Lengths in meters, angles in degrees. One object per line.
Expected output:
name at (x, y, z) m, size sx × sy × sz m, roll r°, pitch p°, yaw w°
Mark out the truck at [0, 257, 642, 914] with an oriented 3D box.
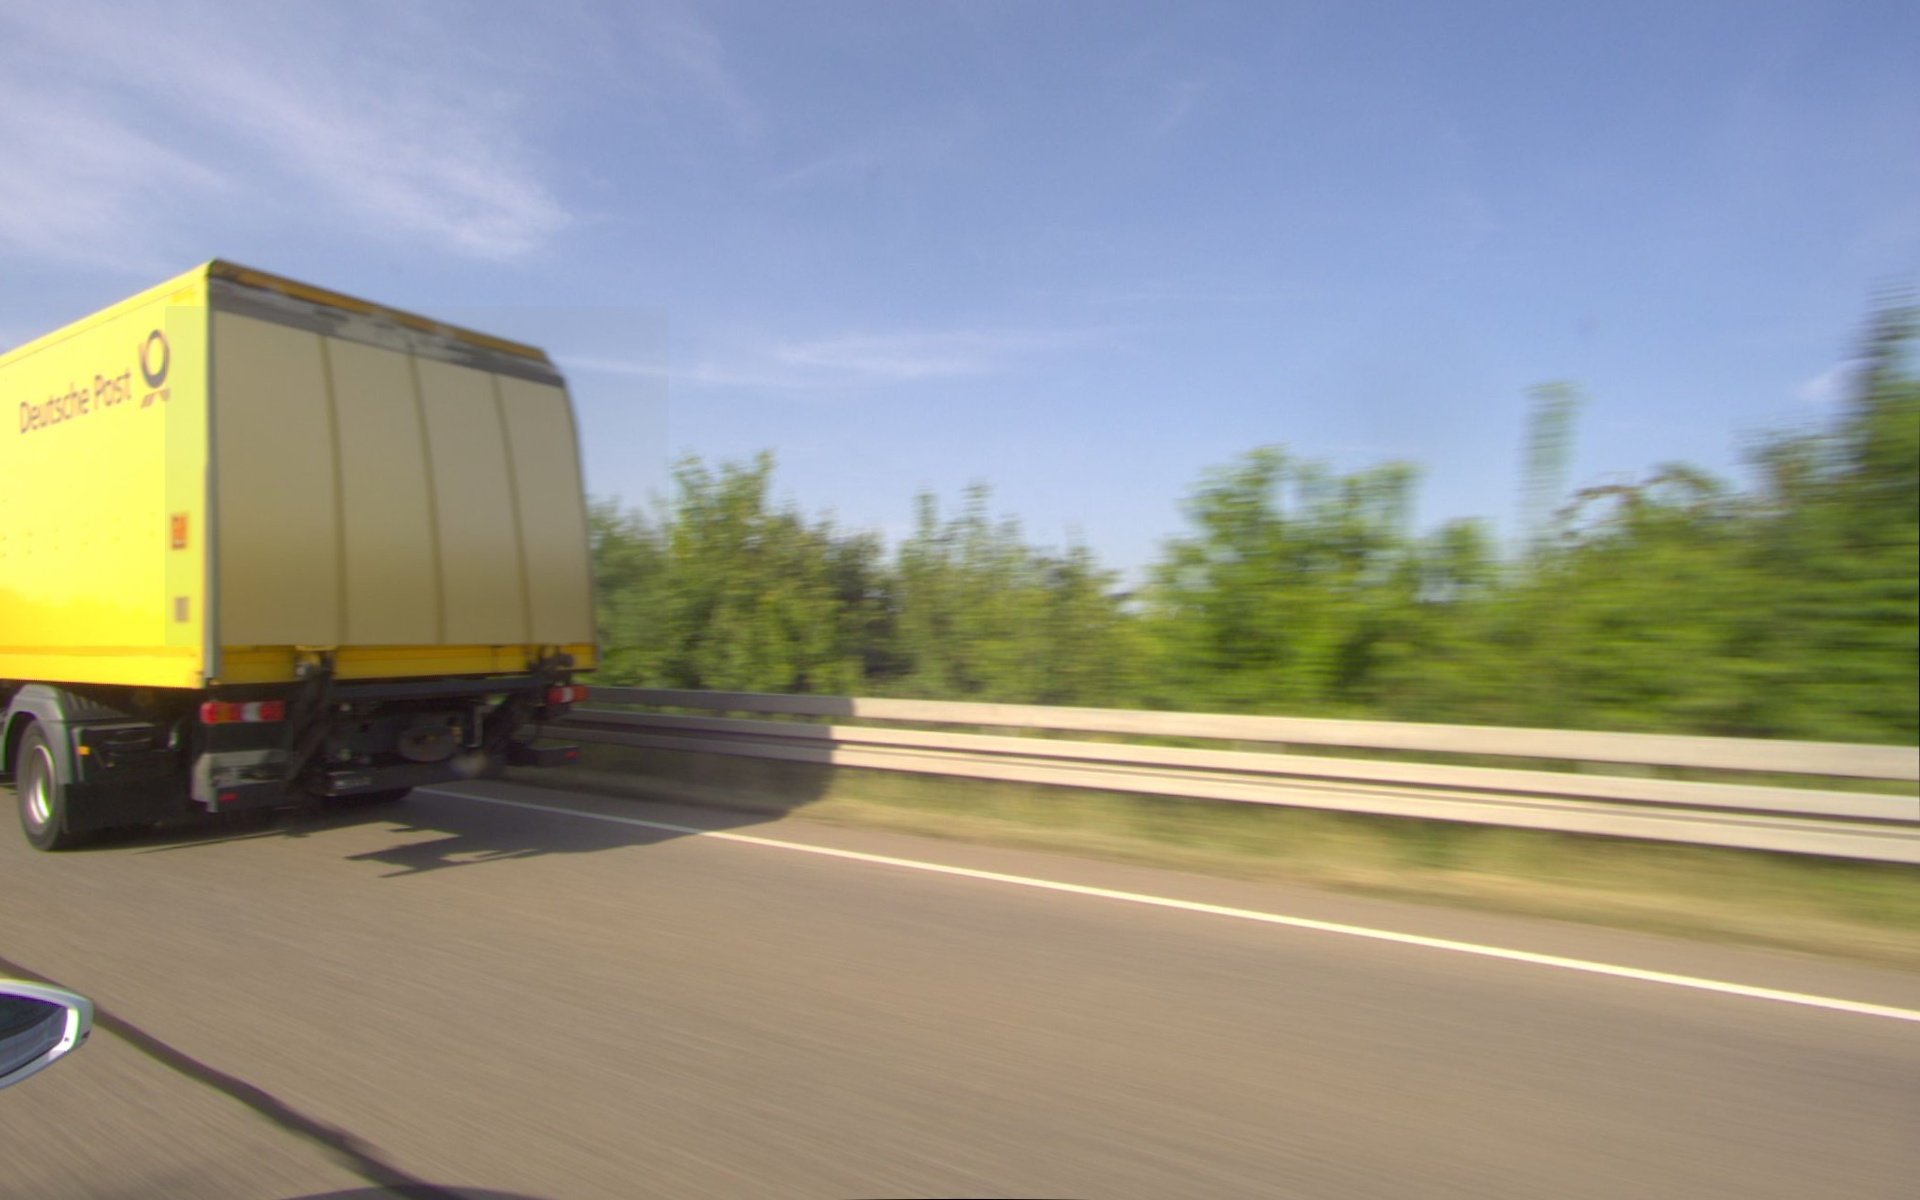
truck at (-7.467, -0.004, 9.091) m, size 10.340 × 3.359 × 2.774 m, roll 0°, pitch -1°, yaw 33°
